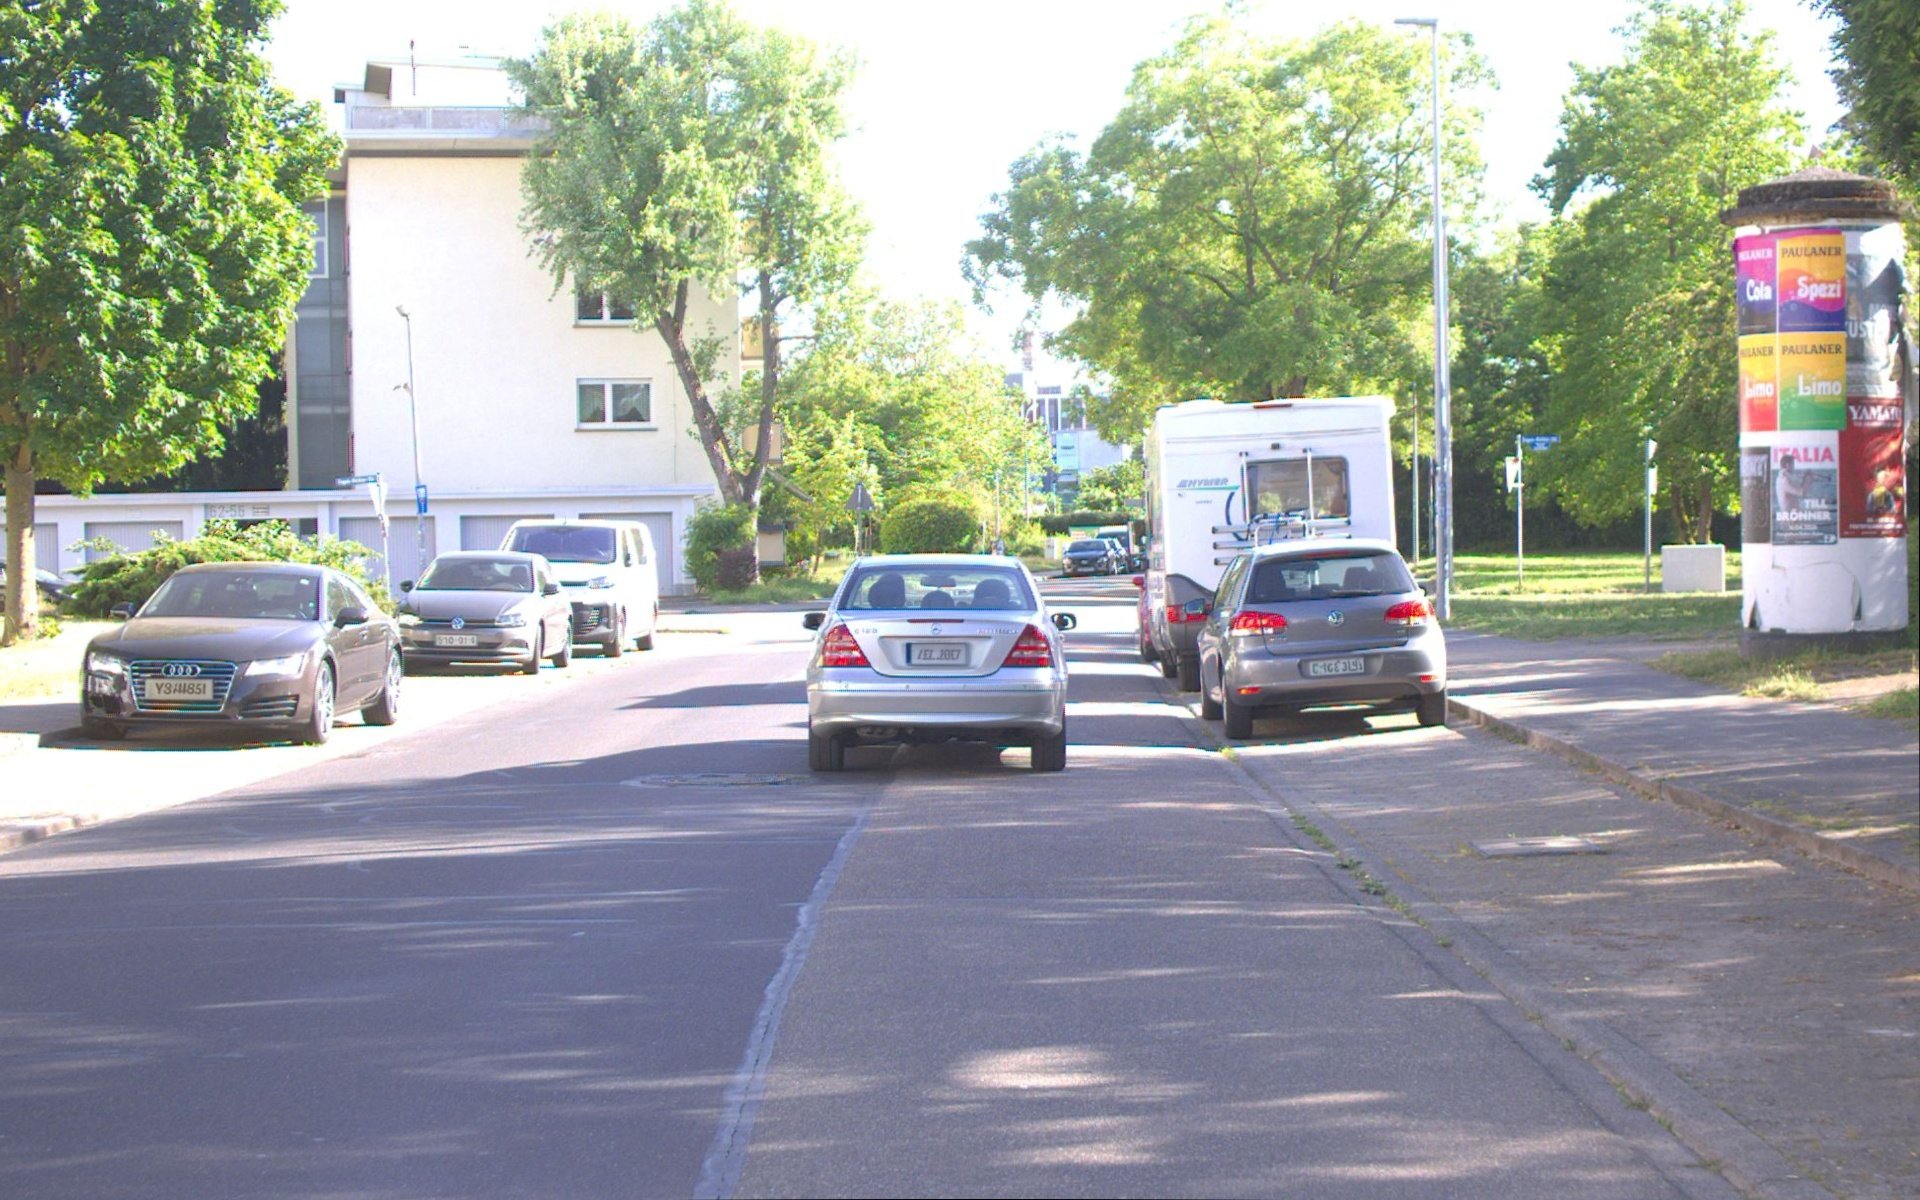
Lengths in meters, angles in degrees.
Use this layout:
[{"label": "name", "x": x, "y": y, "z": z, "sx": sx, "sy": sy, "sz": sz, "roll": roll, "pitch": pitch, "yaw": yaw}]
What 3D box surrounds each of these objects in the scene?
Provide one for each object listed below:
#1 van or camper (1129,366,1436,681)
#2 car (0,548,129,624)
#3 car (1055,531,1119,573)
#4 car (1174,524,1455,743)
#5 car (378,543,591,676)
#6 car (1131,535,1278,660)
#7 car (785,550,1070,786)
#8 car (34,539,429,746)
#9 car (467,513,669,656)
[{"label": "van or camper", "x": 3.153, "y": -0.788, "z": 35.197, "sx": 2.496, "sy": 2.835, "sz": 6.851, "roll": -2, "pitch": 1, "yaw": 1}, {"label": "car", "x": -19.518, "y": -0.271, "z": 70.281, "sx": 4.444, "sy": 1.455, "sz": 2.042, "roll": -1, "pitch": 1, "yaw": 9}, {"label": "car", "x": 4.943, "y": -1.864, "z": 133.127, "sx": 1.914, "sy": 1.485, "sz": 3.836, "roll": -3, "pitch": 1, "yaw": 9}, {"label": "car", "x": 2.808, "y": 0.202, "z": 28.109, "sx": 1.720, "sy": 1.519, "sz": 4.429, "roll": -4, "pitch": 1, "yaw": 0}, {"label": "car", "x": -5.703, "y": 0.075, "z": 41.692, "sx": 1.833, "sy": 1.513, "sz": 4.221, "roll": 1, "pitch": 1, "yaw": 2}, {"label": "car", "x": 3.089, "y": -0.069, "z": 44.070, "sx": 1.691, "sy": 1.469, "sz": 4.000, "roll": -2, "pitch": 1, "yaw": 2}, {"label": "car", "x": -0.150, "y": 0.408, "z": 23.139, "sx": 1.733, "sy": 1.429, "sz": 3.438, "roll": -1, "pitch": 0, "yaw": 2}, {"label": "car", "x": -5.917, "y": 0.272, "z": 28.628, "sx": 2.035, "sy": 1.487, "sz": 5.256, "roll": -2, "pitch": 1, "yaw": 1}, {"label": "car", "x": -5.424, "y": -0.249, "z": 48.178, "sx": 2.014, "sy": 1.879, "sz": 5.190, "roll": 1, "pitch": 1, "yaw": 2}]
